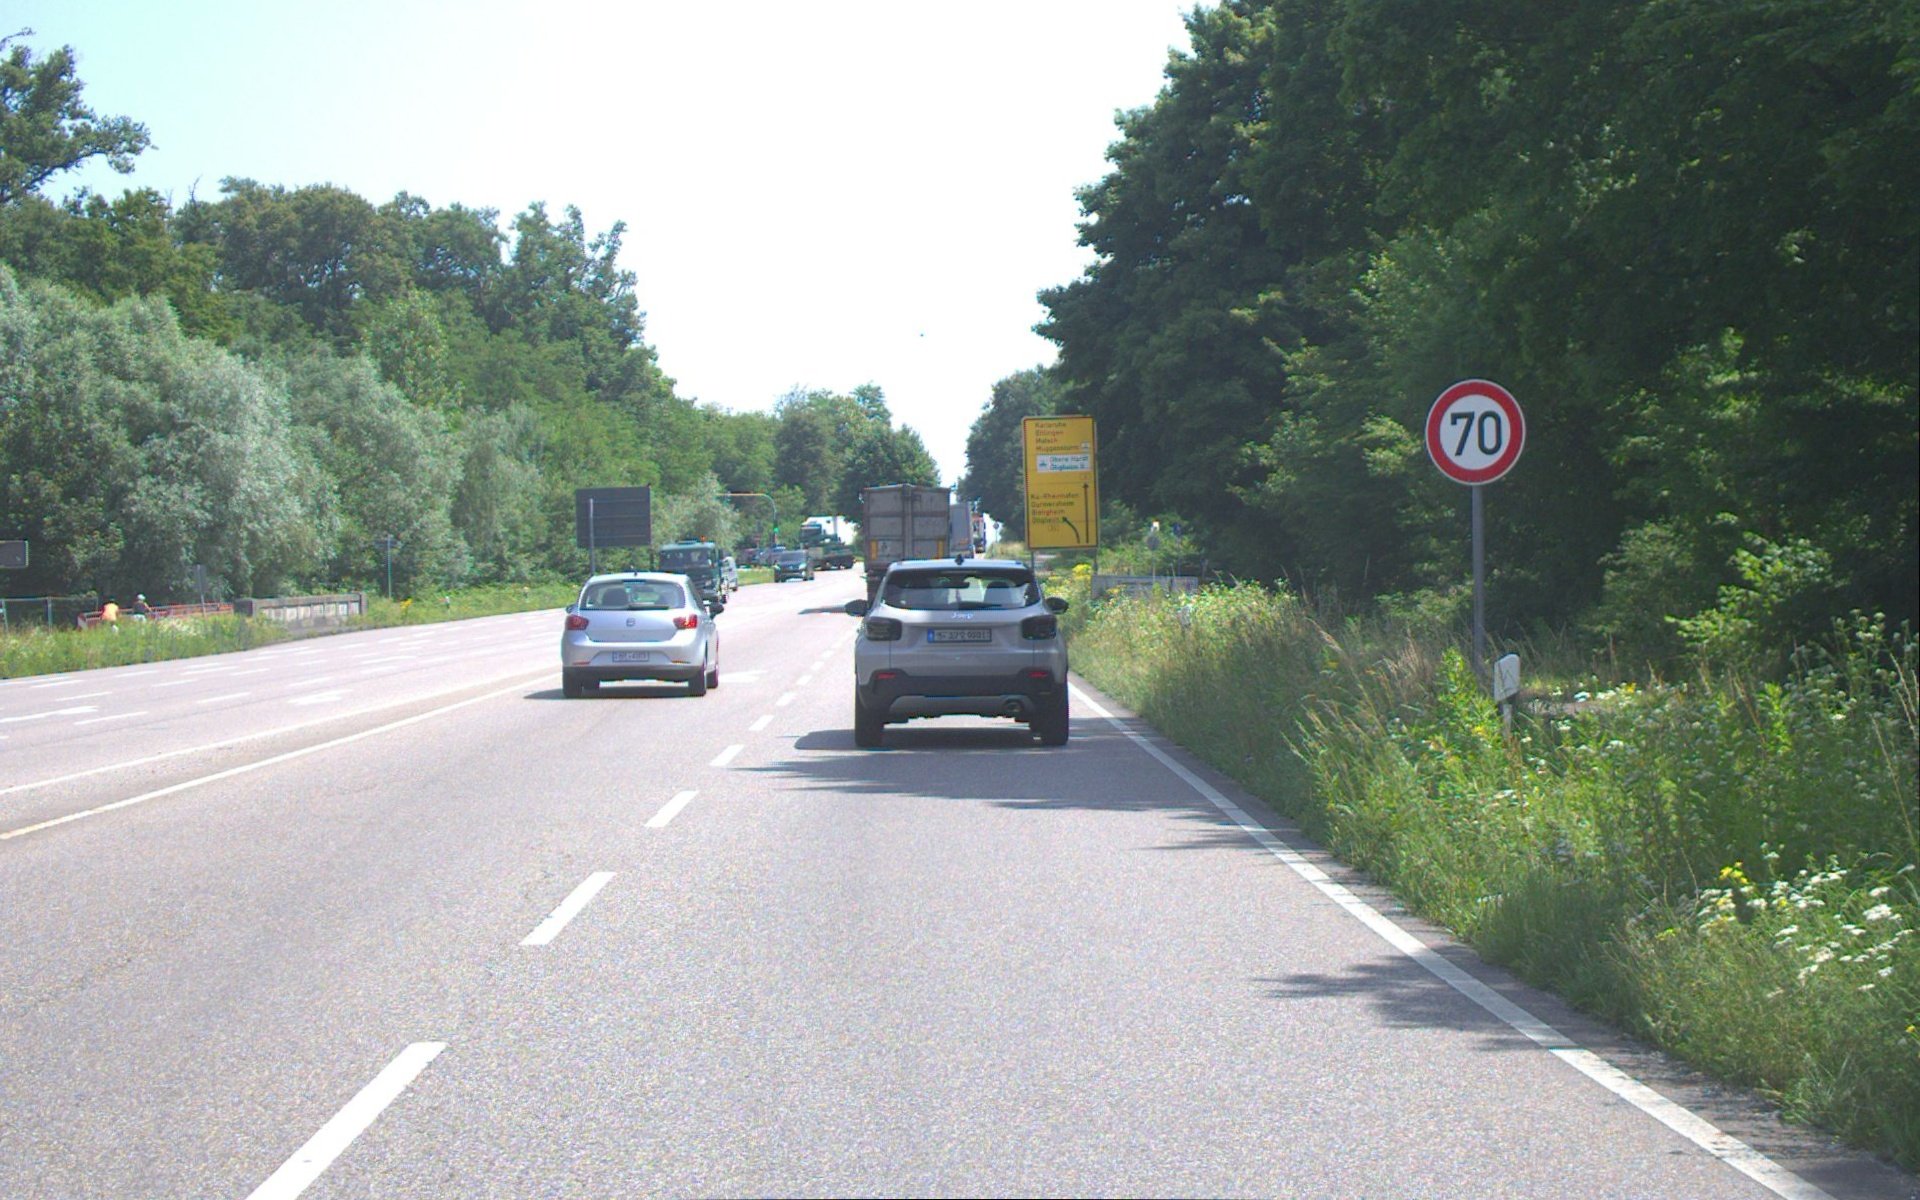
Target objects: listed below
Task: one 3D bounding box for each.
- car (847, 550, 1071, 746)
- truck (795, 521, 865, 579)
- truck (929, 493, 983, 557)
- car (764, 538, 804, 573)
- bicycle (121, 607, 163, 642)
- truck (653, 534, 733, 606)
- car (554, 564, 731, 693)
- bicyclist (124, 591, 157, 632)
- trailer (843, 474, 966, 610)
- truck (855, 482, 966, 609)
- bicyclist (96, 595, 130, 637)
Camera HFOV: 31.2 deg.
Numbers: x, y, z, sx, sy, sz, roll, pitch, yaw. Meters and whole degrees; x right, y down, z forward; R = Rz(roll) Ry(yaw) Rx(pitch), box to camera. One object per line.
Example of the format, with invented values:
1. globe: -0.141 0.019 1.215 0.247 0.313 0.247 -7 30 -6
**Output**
1. car: 0.026 0.355 29.495 1.767 1.529 4.000 -1 1 1
2. truck: -9.713 -3.675 255.540 3.645 4.091 9.511 -2 1 -11
3. truck: -0.286 -5.018 231.858 3.497 4.173 10.784 0 1 0
4. car: -10.120 -2.578 198.298 1.993 1.875 4.960 -2 1 0
5. bicycle: -25.099 0.750 105.470 0.604 1.002 1.555 -3 0 11
6. truck: -10.661 -1.234 137.627 2.454 2.647 6.491 -4 1 1
7. car: -3.707 0.301 40.654 1.666 1.425 3.828 0 1 1
8. bicyclist: -25.124 0.347 105.418 0.735 1.191 0.591 -3 0 12
9. trailer: -1.637 -1.749 106.407 3.383 3.975 10.804 0 1 1
10. truck: -1.554 -1.753 111.383 3.333 3.975 6.533 0 1 1
11. bicyclist: -25.189 0.475 102.249 0.757 1.191 0.592 -3 1 11
